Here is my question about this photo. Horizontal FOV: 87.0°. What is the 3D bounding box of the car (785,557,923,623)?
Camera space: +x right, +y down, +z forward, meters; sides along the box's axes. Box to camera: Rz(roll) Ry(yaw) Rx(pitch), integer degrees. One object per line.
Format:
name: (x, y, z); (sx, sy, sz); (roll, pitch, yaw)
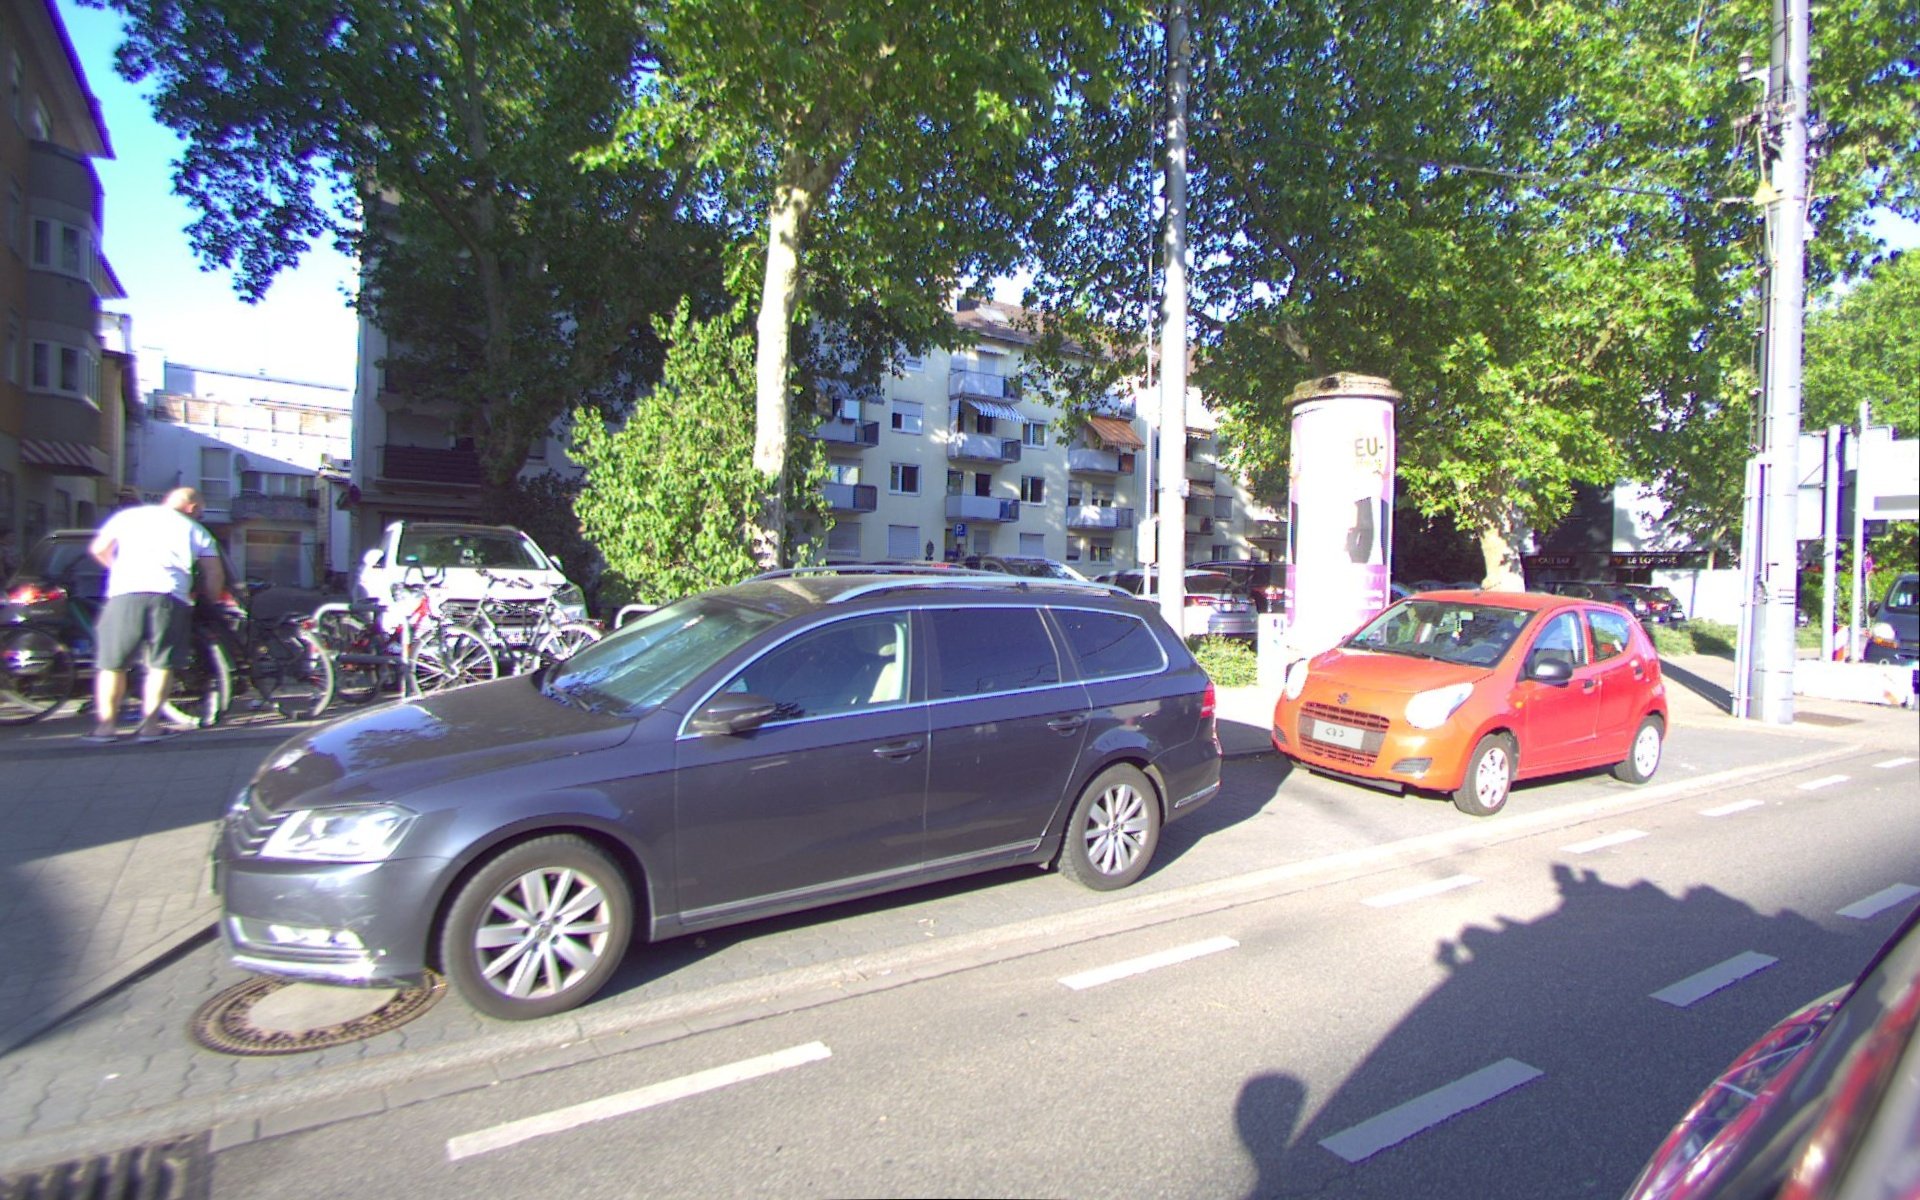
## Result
car: (-2.829, -0.303, 26.335); (1.961, 1.553, 4.066); (0, 2, -32)

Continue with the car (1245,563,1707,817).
car: (4.091, 0.544, 7.901); (3.555, 1.512, 1.576); (0, 4, -33)

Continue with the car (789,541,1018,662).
car: (-0.923, 0.051, 14.492); (1.739, 1.502, 3.509); (1, -1, -34)

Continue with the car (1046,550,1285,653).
car: (3.319, 0.059, 17.047); (1.820, 1.514, 3.854); (0, -1, -31)

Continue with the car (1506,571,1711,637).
car: (16.754, 0.102, 26.354); (1.767, 1.570, 4.128); (0, -1, -31)

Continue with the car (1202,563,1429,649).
car: (6.675, 0.133, 19.389); (1.767, 1.455, 3.855); (2, -1, -31)

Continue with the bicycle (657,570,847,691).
bicycle: (-1.962, 0.255, 9.546); (1.659, 1.026, 0.647); (2, 1, 20)

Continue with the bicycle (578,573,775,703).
bicycle: (-2.470, 0.295, 8.835); (1.563, 1.026, 0.647); (2, 1, 20)

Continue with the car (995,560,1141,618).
car: (3.124, -0.363, 30.019); (1.962, 1.553, 4.297); (0, 2, -35)

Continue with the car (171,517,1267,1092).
car: (-0.755, 0.505, 4.755); (4.564, 1.549, 1.703); (0, 4, -35)

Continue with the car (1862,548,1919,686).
car: (16.632, 0.268, 16.380); (4.474, 2.104, 1.892); (0, 1, -33)

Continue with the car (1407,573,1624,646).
car: (12.956, 0.161, 23.847); (1.767, 1.513, 4.130); (0, 2, -31)

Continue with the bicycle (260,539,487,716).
bicycle: (-4.488, 0.174, 7.749); (1.563, 1.242, 0.647); (2, 1, 20)

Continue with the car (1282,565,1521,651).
car: (8.719, 0.085, 20.336); (1.767, 1.513, 4.130); (0, 2, -31)

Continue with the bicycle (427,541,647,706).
bicycle: (-3.435, 0.164, 8.264); (1.558, 1.242, 0.645); (2, 1, 11)

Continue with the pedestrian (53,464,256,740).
pedestrian: (-5.252, -0.008, 6.623); (0.973, 1.656, 0.661); (1, 4, -40)

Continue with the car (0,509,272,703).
car: (-7.786, -0.061, 9.607); (1.962, 1.449, 4.030); (-3, 4, -33)

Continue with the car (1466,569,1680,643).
car: (14.956, 0.082, 24.927); (1.767, 1.619, 4.130); (0, 2, -31)

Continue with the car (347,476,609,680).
car: (-5.448, -0.151, 11.072); (1.961, 1.731, 4.633); (0, -1, -33)

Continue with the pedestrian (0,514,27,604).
pedestrian: (-16.894, -0.719, 17.826); (0.585, 1.560, 0.745); (1, 2, -35)

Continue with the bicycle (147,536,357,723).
bicycle: (-5.065, 0.181, 7.235); (1.500, 1.242, 0.401); (2, 1, 18)

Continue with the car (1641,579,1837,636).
car: (23.352, 0.171, 30.493); (1.963, 1.514, 4.295); (0, 2, -36)

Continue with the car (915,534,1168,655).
car: (1.112, -0.035, 15.725); (1.820, 1.621, 4.035); (1, -1, -34)

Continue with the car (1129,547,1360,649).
car: (5.051, -0.027, 18.416); (1.820, 1.652, 3.855); (0, 0, -31)

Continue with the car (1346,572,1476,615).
car: (17.862, -0.286, 40.256); (1.963, 1.514, 4.295); (0, 2, -36)
